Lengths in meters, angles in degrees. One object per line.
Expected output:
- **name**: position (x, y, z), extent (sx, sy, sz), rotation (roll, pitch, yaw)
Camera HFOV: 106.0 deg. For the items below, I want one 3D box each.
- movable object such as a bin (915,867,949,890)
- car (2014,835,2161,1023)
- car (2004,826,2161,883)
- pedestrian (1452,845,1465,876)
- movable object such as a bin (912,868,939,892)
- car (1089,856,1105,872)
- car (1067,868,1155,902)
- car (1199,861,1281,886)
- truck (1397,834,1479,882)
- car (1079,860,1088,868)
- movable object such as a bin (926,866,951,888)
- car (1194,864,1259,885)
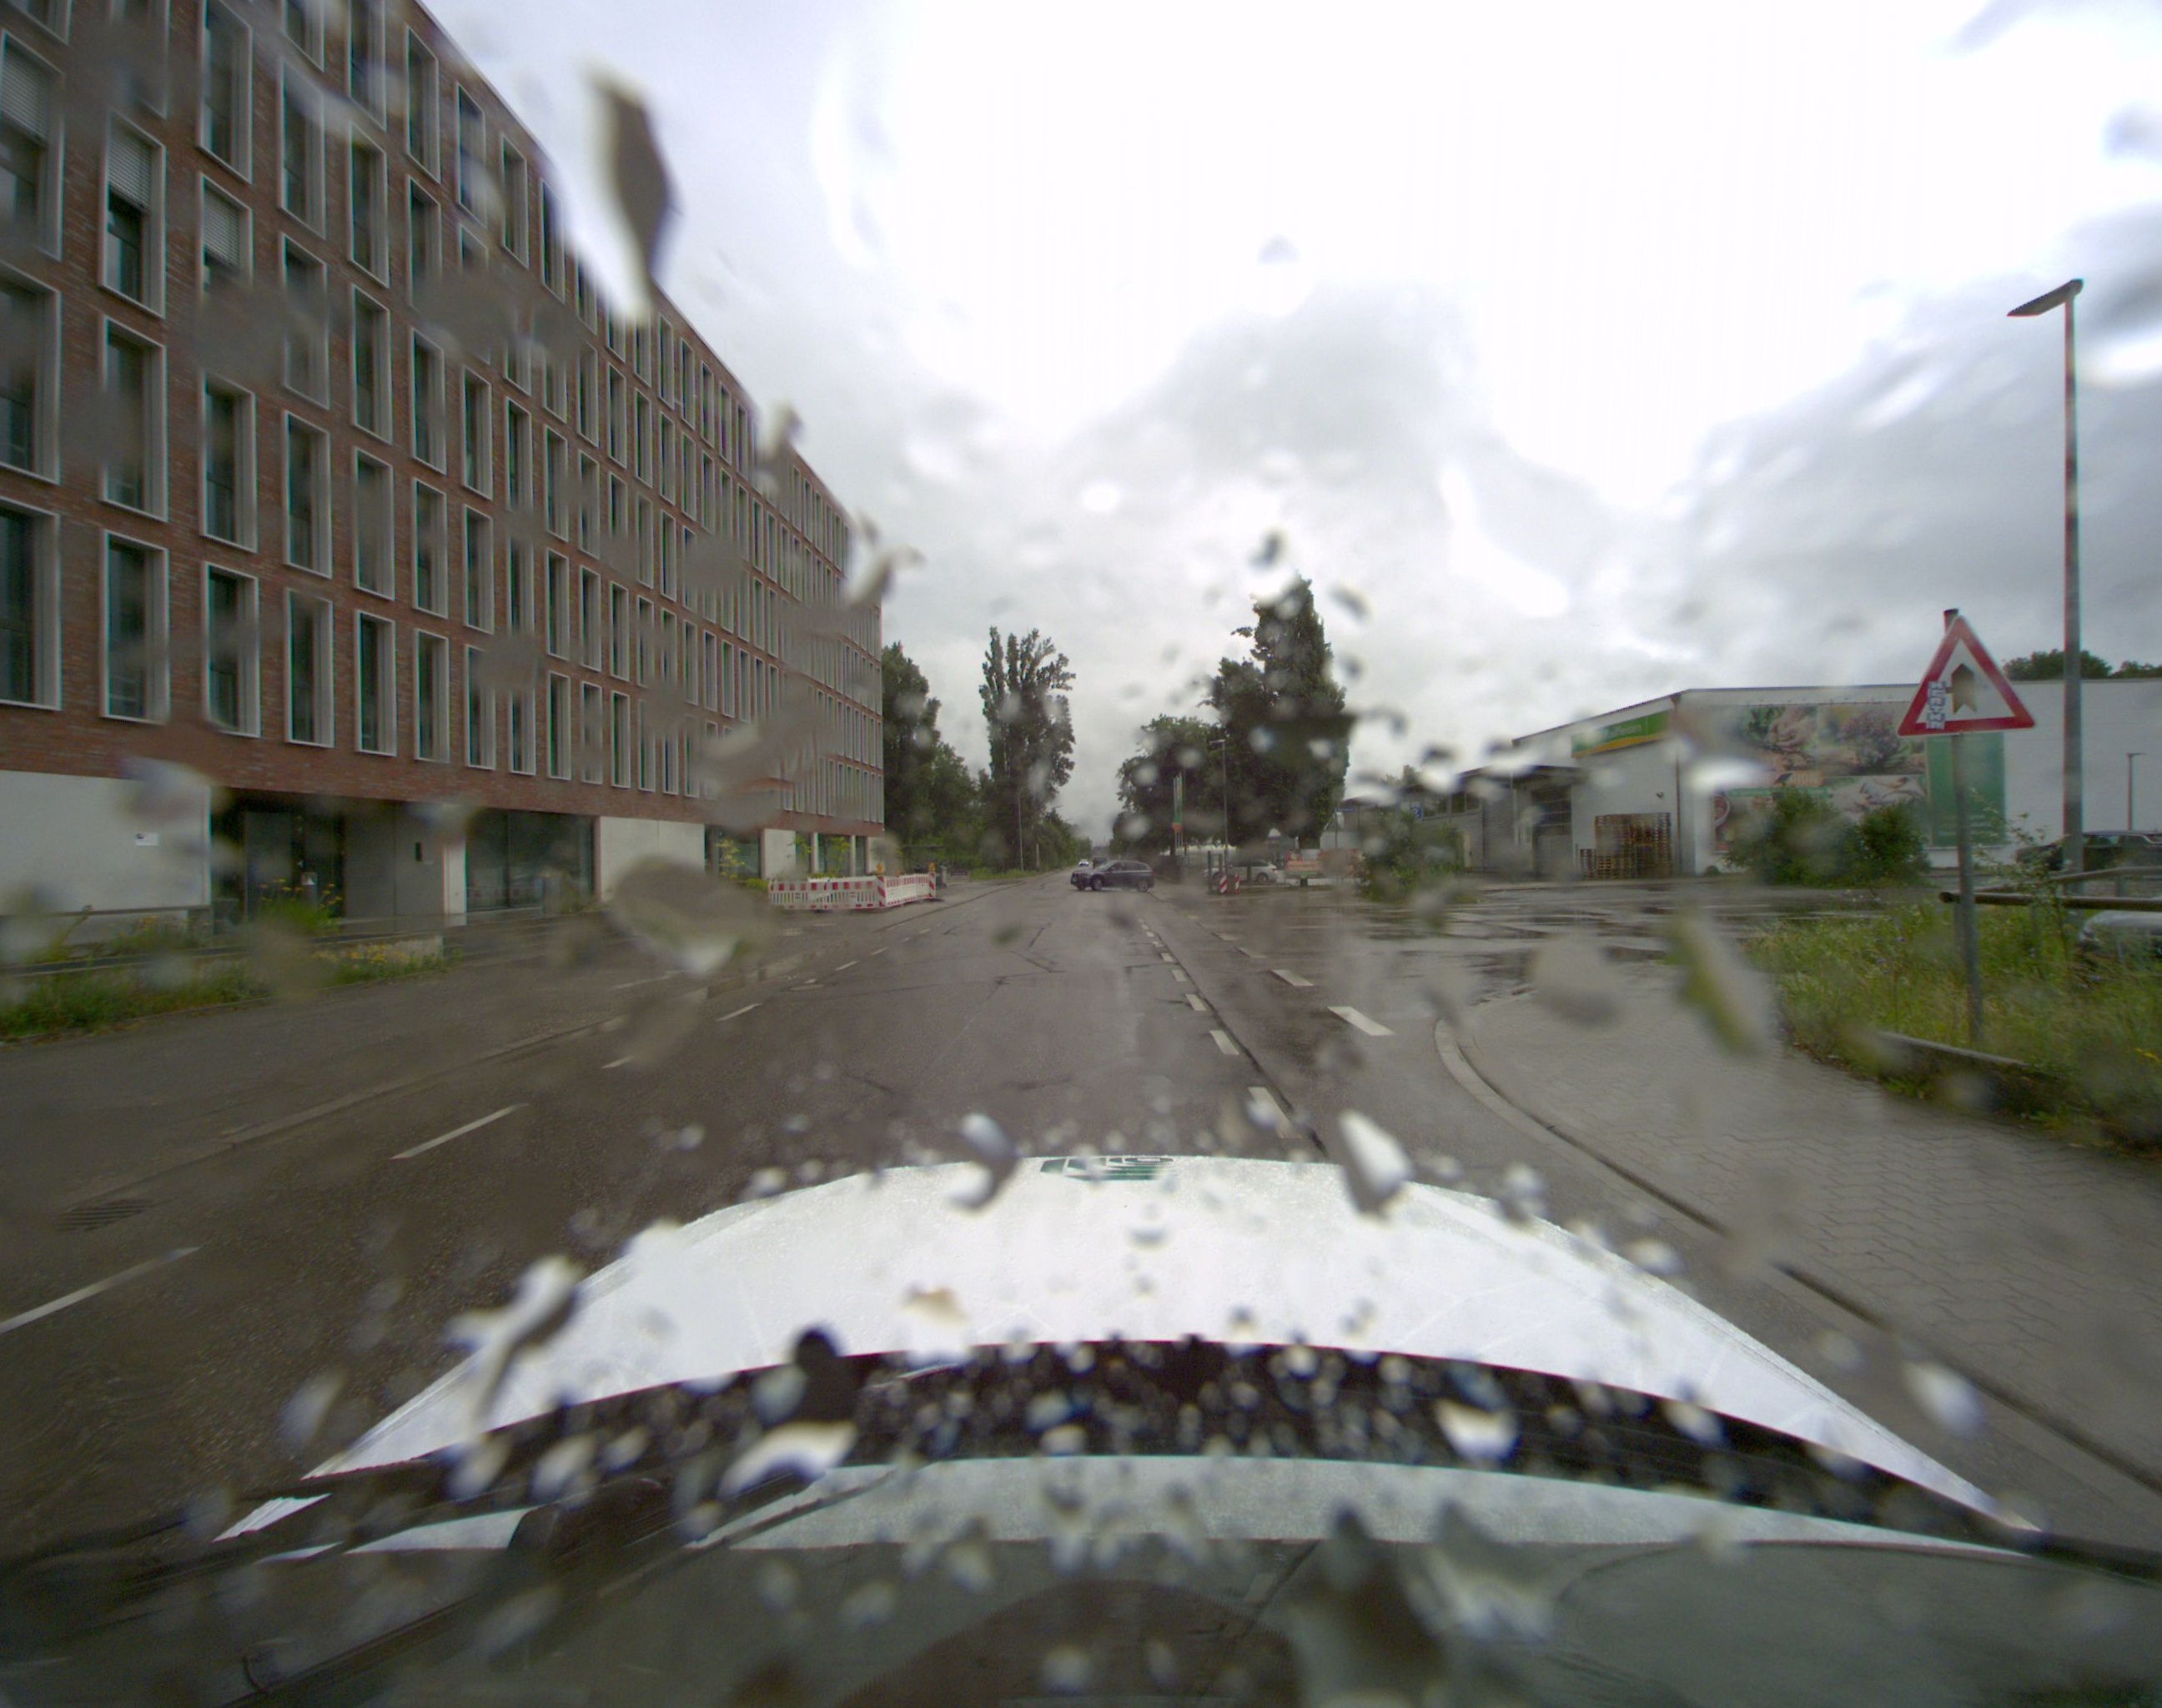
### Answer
- **movable object such as a bin**: position (-8.858, 1.461, 48.465), extent (1.362, 1.308, 1.456), rotation (-2, -1, 23)
- **car**: position (10.406, 0.455, 6.443), extent (4.213, 1.400, 1.886), rotation (-4, -2, -7)
- **car**: position (35.415, 0.015, 28.197), extent (1.779, 1.823, 4.379), rotation (-2, -1, -2)
- **pedestrian**: position (21.847, 0.379, 47.096), extent (0.453, 1.718, 0.433), rotation (-3, -1, 4)
- **movable object such as a bin**: position (-8.894, 1.464, 46.606), extent (1.293, 1.308, 1.446), rotation (-2, 0, -5)
- **car**: position (2.013, 1.288, 104.003), extent (1.987, 1.910, 4.201), rotation (-2, -1, 1)
- **car**: position (1.533, 1.582, 41.448), extent (4.158, 1.569, 1.749), rotation (-1, -2, -27)
- **car**: position (9.802, 1.191, 50.413), extent (4.688, 1.462, 1.890), rotation (-1, 0, -1)
- **truck**: position (22.174, 0.235, 50.990), extent (2.290, 2.659, 7.425), rotation (-3, 0, 5)
- **car**: position (0.514, 2.034, 163.336), extent (1.727, 1.450, 4.383), rotation (-4, 0, 2)
- **movable object such as a bin**: position (-8.898, 1.412, 51.053), extent (1.291, 1.332, 1.358), rotation (-2, 0, 0)
- **car**: position (9.480, 1.317, 53.265), extent (3.926, 1.256, 1.618), rotation (-1, -1, -1)
